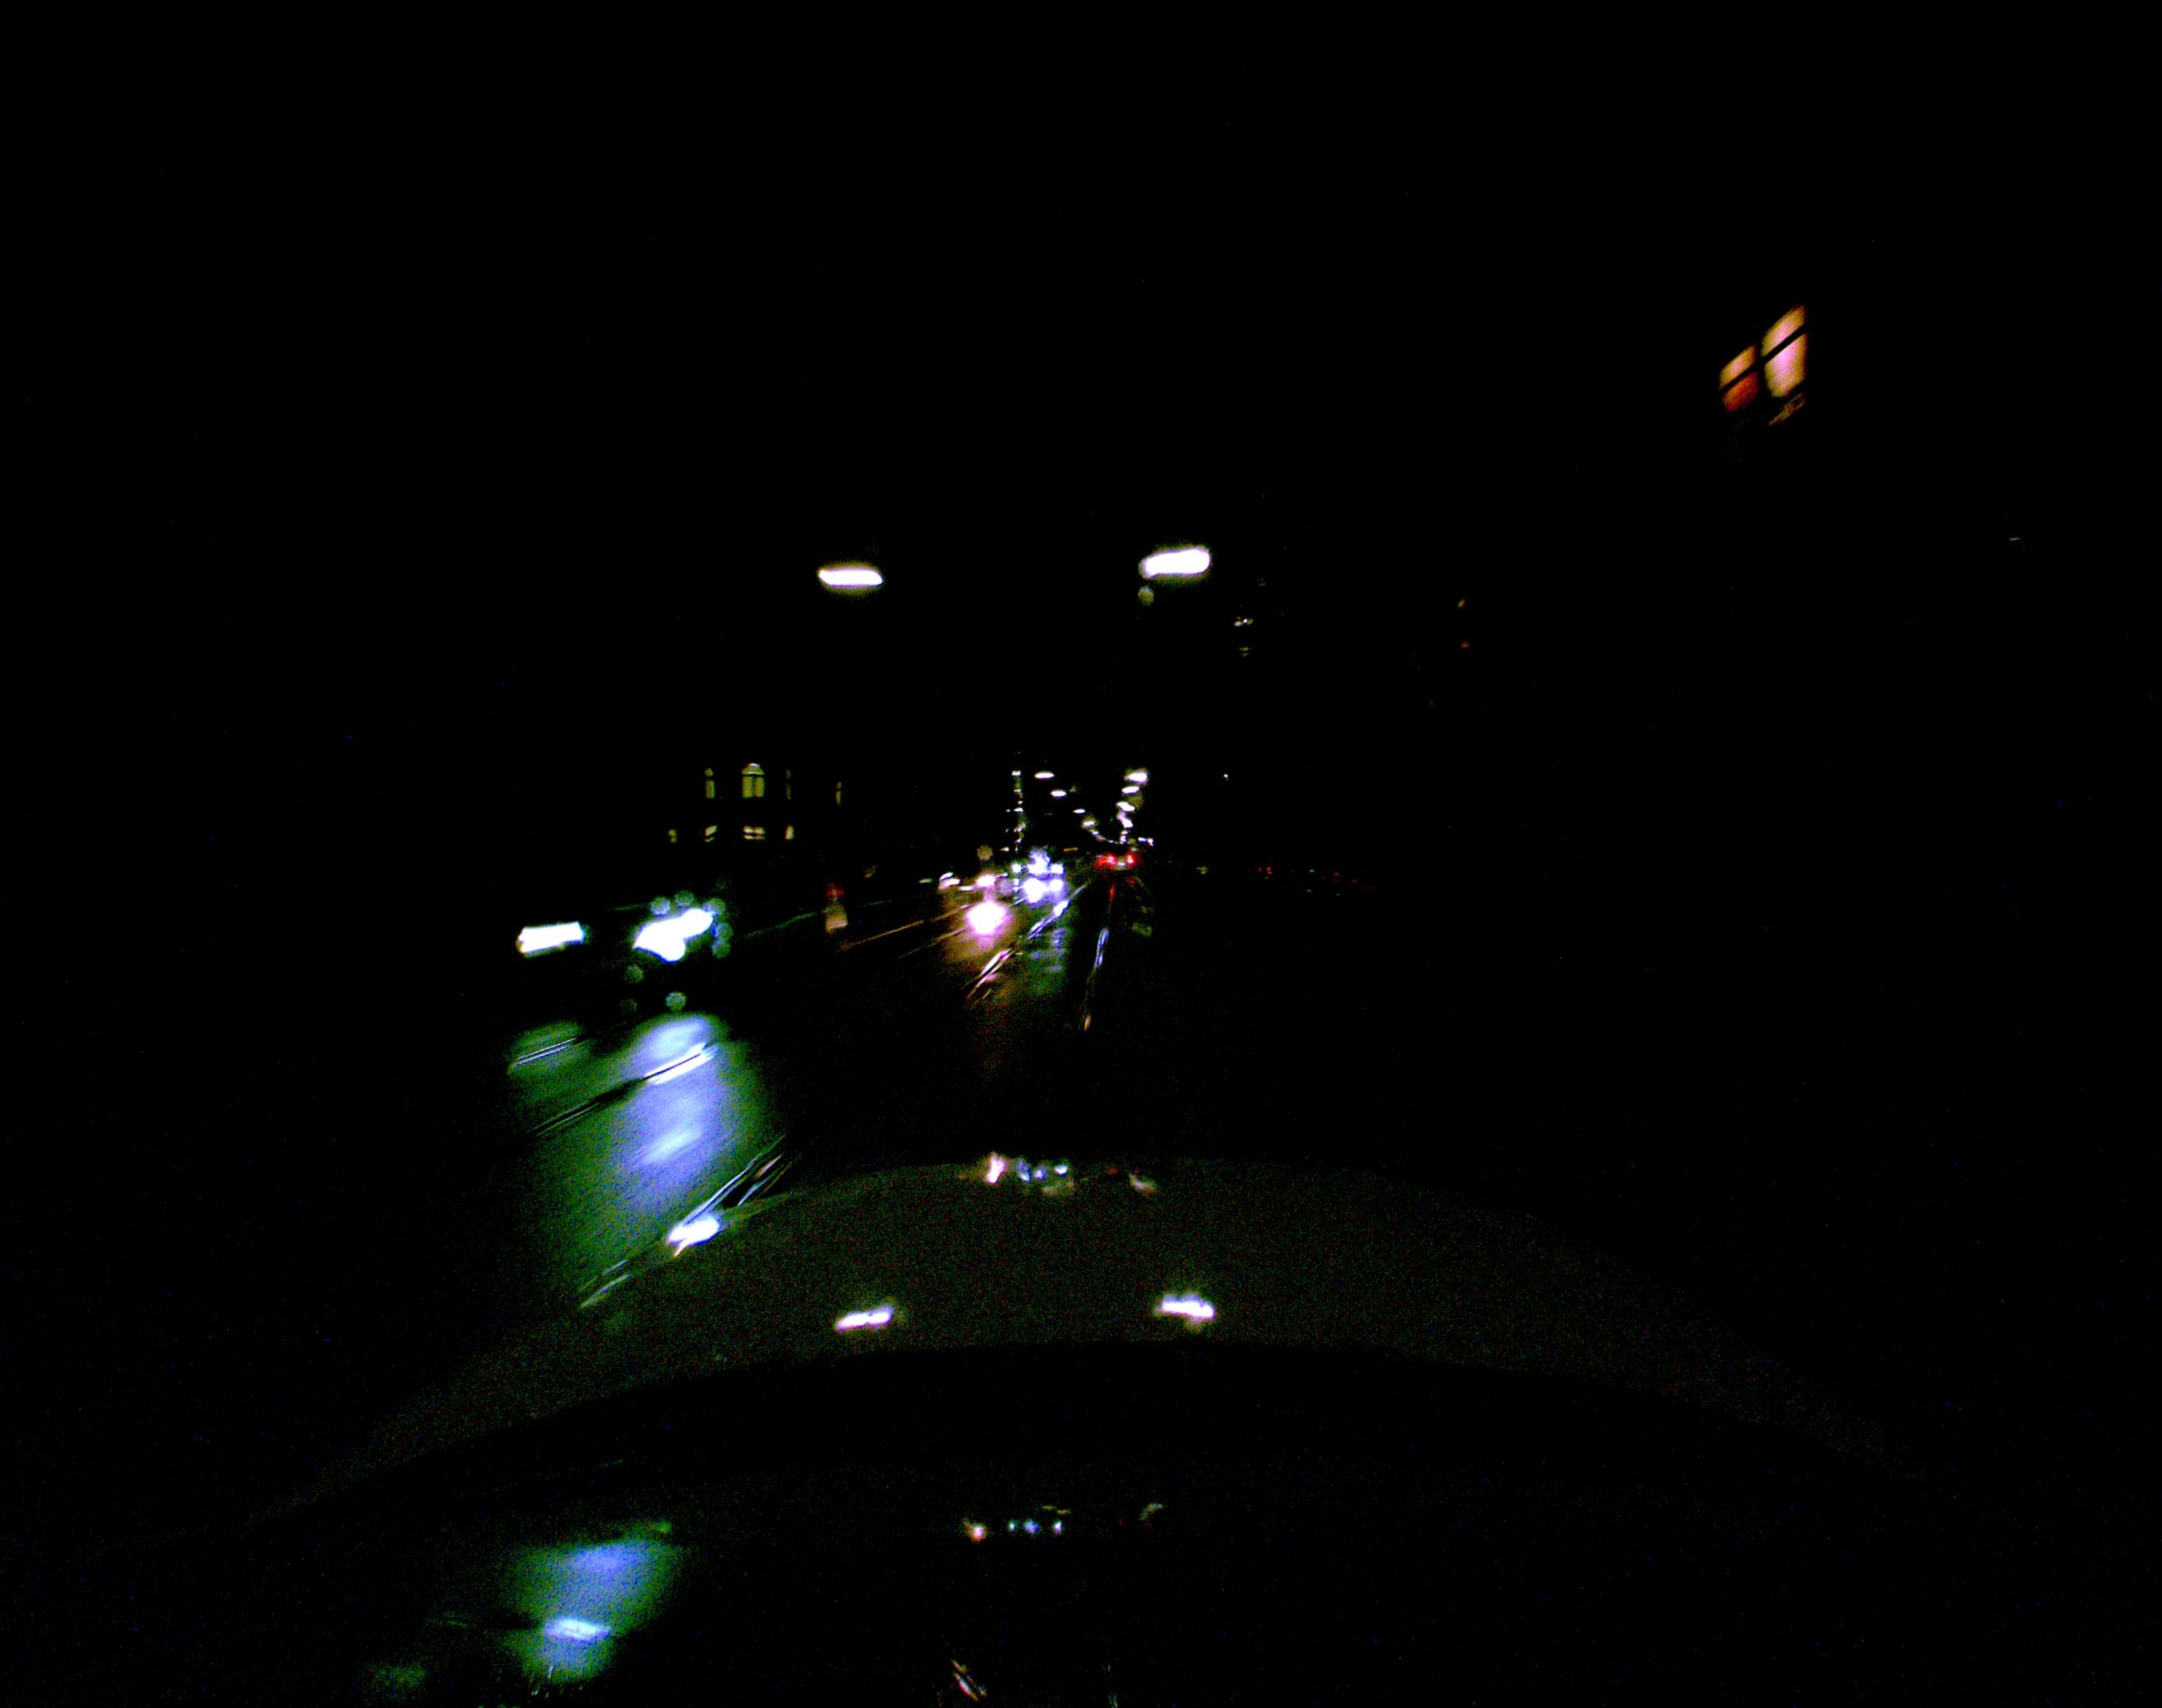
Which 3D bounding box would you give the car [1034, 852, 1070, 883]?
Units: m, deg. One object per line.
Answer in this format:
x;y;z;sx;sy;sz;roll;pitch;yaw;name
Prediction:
-1.864;0.851;53.806;1.930;1.816;4.389;-2;0;3;car

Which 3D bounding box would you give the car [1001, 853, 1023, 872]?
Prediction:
-6.135;0.736;72.472;1.635;1.507;3.619;0;2;0;car

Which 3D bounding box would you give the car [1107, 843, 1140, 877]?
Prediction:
3.125;0.409;60.999;2.209;2.442;5.384;0;0;1;car

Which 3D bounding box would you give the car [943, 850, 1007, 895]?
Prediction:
-3.833;0.640;30.067;1.645;1.479;4.207;-2;0;2;car

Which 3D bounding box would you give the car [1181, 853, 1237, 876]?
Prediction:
8.443;0.718;53.517;3.856;1.438;1.581;1;-1;-42;car

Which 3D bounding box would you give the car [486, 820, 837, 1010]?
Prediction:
-5.019;0.613;10.689;1.918;1.879;4.641;-2;0;3;car

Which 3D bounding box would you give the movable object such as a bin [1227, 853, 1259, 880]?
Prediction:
8.749;0.657;44.023;1.351;1.407;1.020;-1;0;-18;movable object such as a bin

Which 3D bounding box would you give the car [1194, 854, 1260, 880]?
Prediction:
8.489;0.751;47.180;3.809;1.458;1.749;1;-1;-40;car

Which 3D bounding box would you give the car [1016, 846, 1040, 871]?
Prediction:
-5.493;0.421;84.418;2.018;2.499;5.607;1;0;0;car

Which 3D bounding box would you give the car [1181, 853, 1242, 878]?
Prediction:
8.080;0.704;50.158;1.785;1.488;3.878;-1;-1;45;car

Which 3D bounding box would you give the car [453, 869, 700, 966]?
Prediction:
-8.771;1.016;14.665;1.759;1.407;4.141;1;0;1;car

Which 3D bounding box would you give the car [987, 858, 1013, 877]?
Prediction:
-6.380;1.042;64.484;1.604;1.428;3.809;1;-1;1;car

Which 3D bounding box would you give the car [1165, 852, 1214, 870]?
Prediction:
9.113;0.556;68.101;1.671;1.404;4.484;0;1;44;car

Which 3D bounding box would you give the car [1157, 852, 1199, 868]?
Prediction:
9.210;0.555;77.137;3.908;1.533;1.800;1;0;-39;car

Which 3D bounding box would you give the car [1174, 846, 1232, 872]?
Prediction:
9.204;0.374;61.196;4.194;1.839;1.940;1;0;-39;car

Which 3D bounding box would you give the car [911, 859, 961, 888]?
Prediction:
-7.544;1.015;42.656;1.661;1.386;4.004;1;-1;3;car
